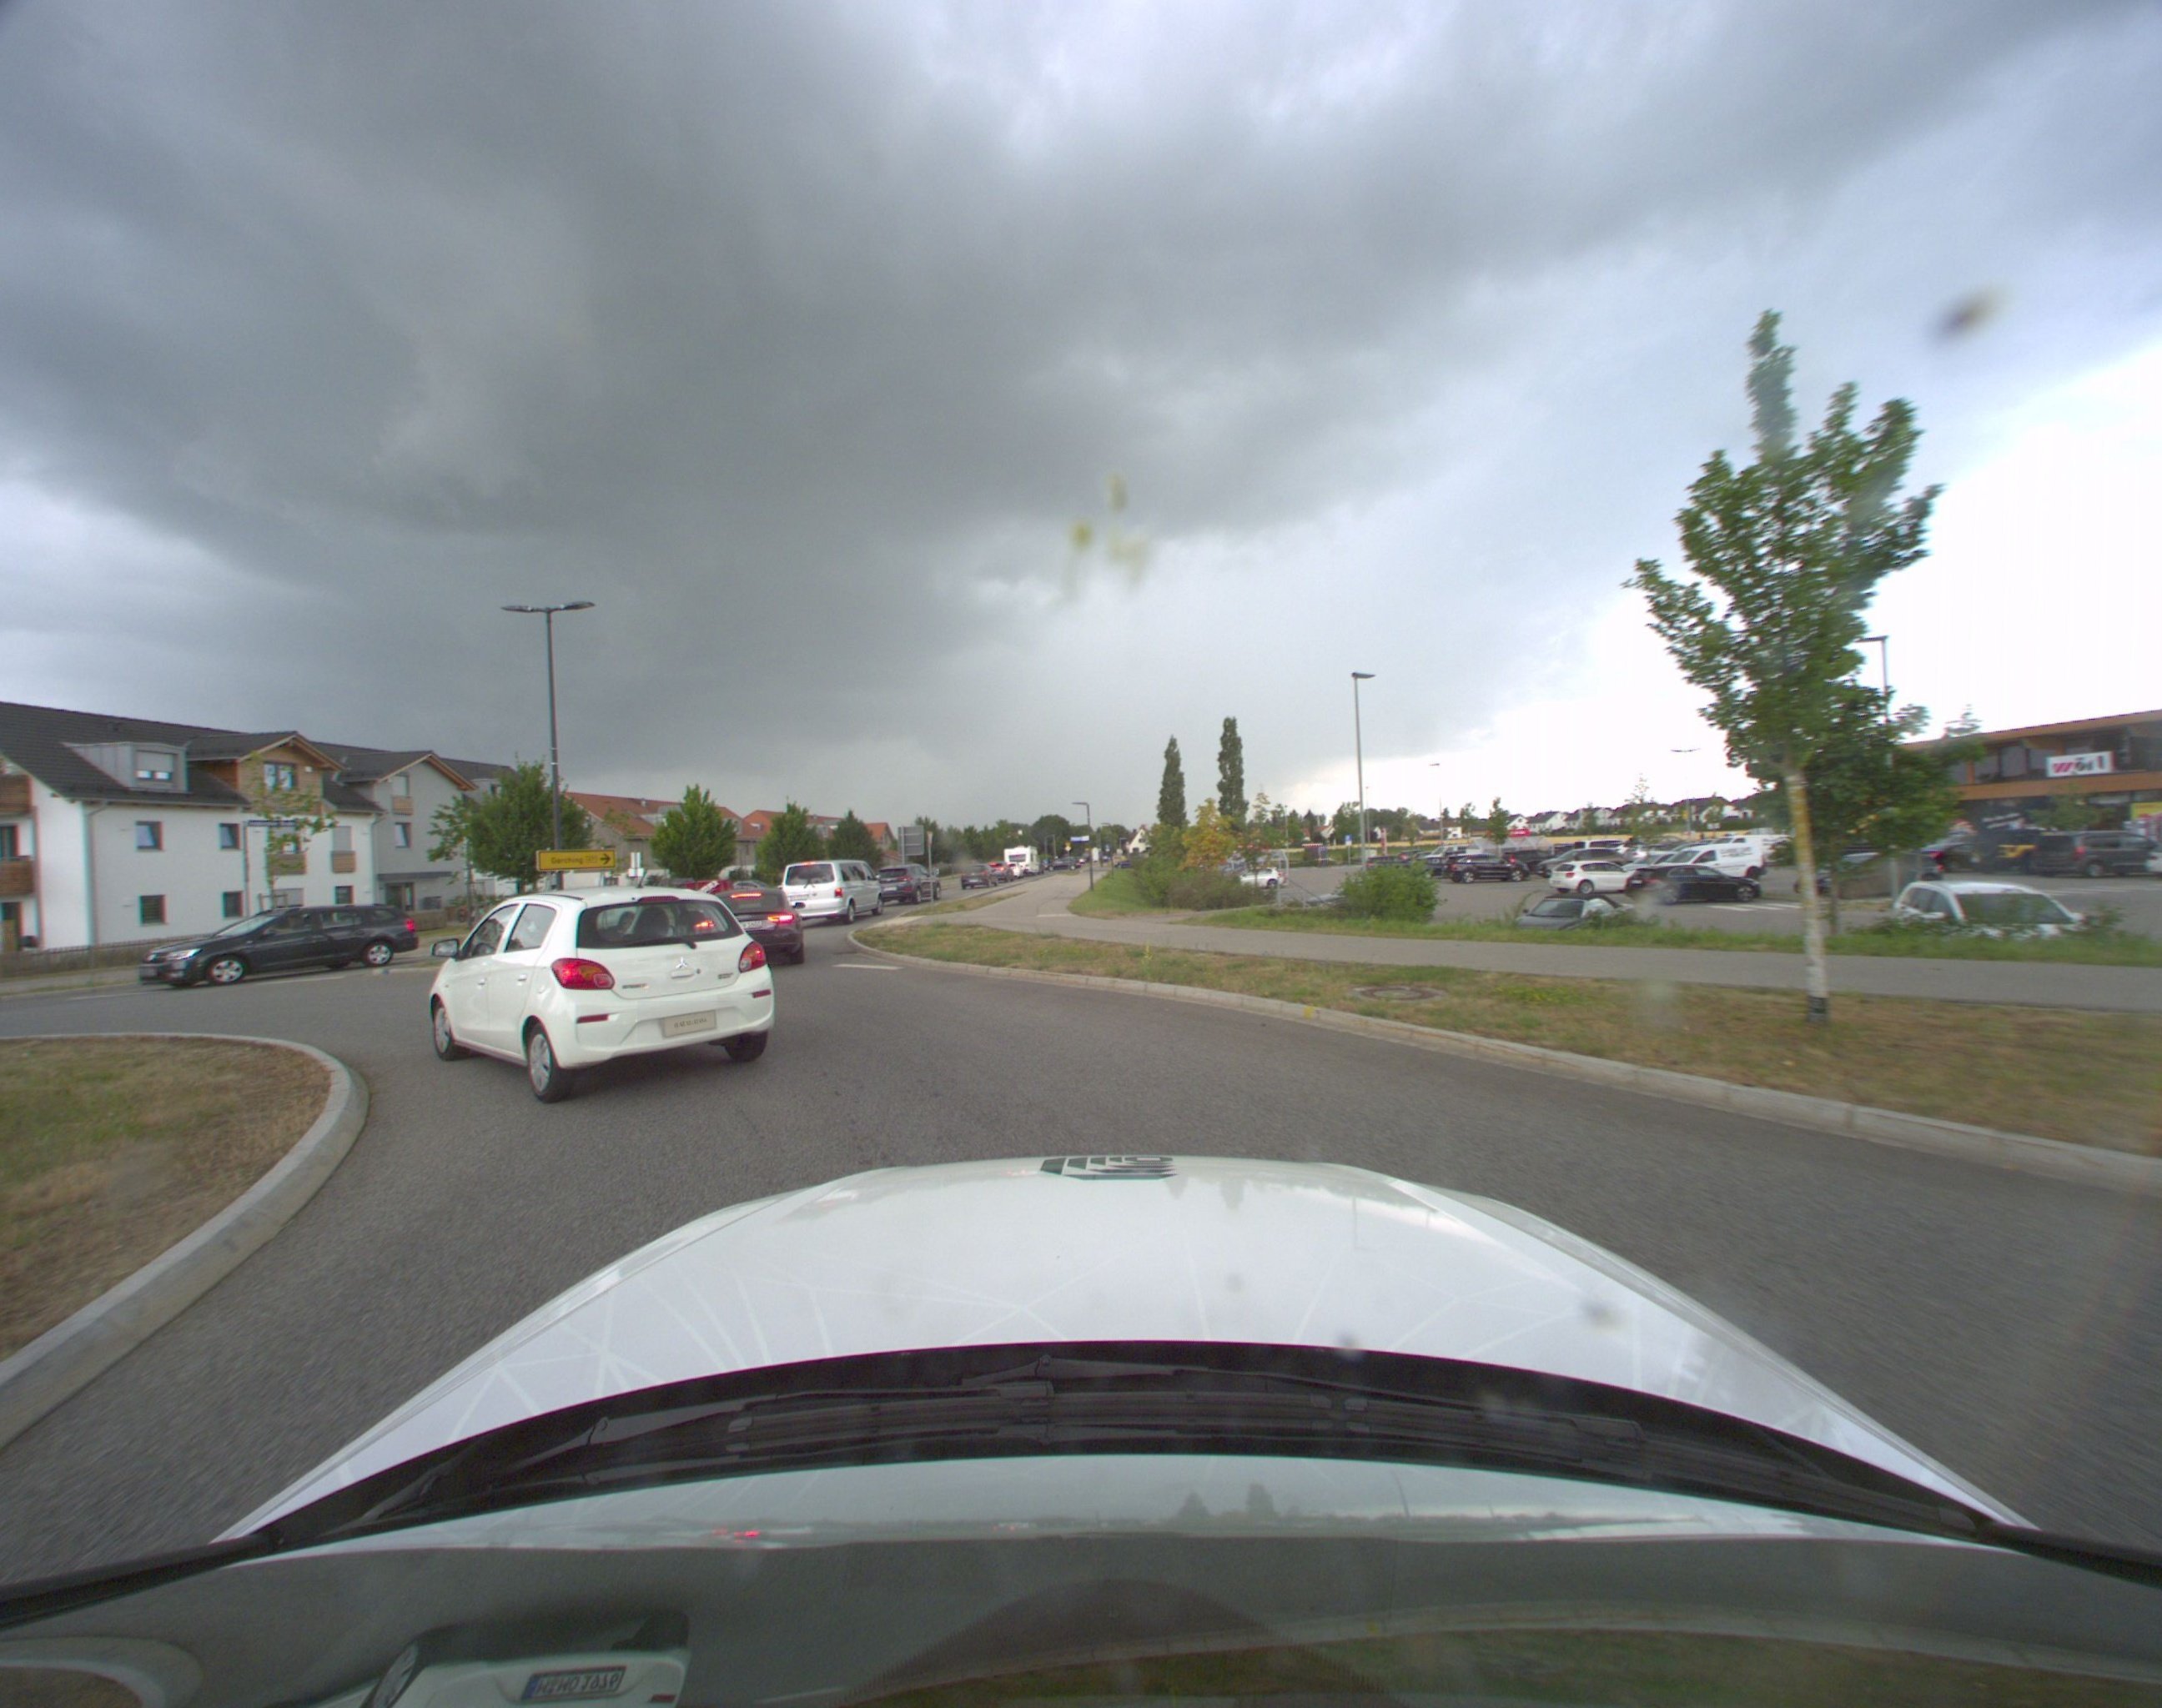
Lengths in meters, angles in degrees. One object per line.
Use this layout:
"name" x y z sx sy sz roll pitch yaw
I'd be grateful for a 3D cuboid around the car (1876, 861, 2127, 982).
"car" 17.466 1.183 15.768 1.777 1.672 4.474 -4 2 29

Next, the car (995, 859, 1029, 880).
"car" -5.543 1.223 65.844 1.984 1.596 4.005 -2 0 5

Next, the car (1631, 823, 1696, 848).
"car" 48.979 -1.534 68.492 3.966 1.840 1.878 -3 0 7

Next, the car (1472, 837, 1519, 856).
"car" 43.892 -0.826 86.259 3.966 1.838 2.004 -2 0 7

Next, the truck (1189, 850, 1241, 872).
"truck" 13.180 0.696 80.188 4.783 1.872 1.999 -2 -1 -1

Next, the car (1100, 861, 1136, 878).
"car" 4.445 1.902 97.428 3.952 1.794 1.627 -3 -1 23

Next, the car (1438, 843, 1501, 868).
"car" 29.868 0.110 62.652 3.971 1.706 1.717 -2 -1 2

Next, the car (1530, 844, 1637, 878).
"car" 29.280 0.399 47.571 4.954 1.664 2.001 -3 0 2

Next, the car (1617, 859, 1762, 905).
"car" 22.223 1.001 29.844 3.976 1.398 1.835 -3 0 -2

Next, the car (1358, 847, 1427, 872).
"car" 23.874 0.381 62.556 4.537 1.664 2.002 -3 0 3

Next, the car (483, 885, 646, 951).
"car" -15.573 1.864 24.892 1.699 1.626 4.460 -2 0 7

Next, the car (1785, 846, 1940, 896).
"car" 28.013 0.579 29.280 3.977 1.553 1.730 -3 0 -3

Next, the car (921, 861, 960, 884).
"car" -9.656 1.245 56.176 1.770 1.434 3.804 -4 -1 2

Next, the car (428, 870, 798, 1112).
"car" -4.114 0.973 6.986 3.355 1.519 1.643 -3 -1 39

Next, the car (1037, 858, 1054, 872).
"car" -5.308 1.592 120.955 1.984 2.013 4.005 -2 0 4

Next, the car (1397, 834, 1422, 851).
"car" 39.461 -1.340 97.806 1.981 2.013 4.011 0 0 10

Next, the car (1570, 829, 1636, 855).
"car" 41.812 -0.927 65.296 3.966 1.838 2.004 -3 0 6

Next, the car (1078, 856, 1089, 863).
"car" 0.498 1.053 161.070 1.837 1.436 4.003 -2 0 3

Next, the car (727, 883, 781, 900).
"car" -28.484 3.263 70.938 3.901 1.315 1.843 -2 0 1

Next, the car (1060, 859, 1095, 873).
"car" -0.395 1.427 96.458 3.971 1.618 2.001 0 0 2

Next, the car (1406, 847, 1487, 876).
"car" 24.061 0.474 53.699 4.385 1.664 2.002 -3 0 3

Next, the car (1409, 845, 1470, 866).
"car" 30.165 0.134 68.612 4.292 1.578 1.770 -3 0 5

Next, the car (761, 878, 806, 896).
"car" -29.355 3.235 80.404 3.717 1.482 1.686 -3 0 0

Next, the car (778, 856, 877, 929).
"car" -7.792 1.120 25.425 1.863 1.934 3.996 -5 0 -3

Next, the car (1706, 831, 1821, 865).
"car" 42.130 -0.377 50.381 5.264 1.831 2.002 -2 -1 3

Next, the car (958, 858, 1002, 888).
"car" -5.944 1.097 48.402 1.769 1.618 4.003 -4 -1 3

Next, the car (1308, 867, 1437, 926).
"car" 10.370 1.495 29.174 3.982 1.606 1.789 -3 8 -6

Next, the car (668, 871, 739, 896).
"car" -28.894 2.218 62.372 4.507 1.680 2.004 -2 0 6

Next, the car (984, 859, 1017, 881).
"car" -5.616 1.106 57.233 1.770 1.434 3.804 -4 -1 2

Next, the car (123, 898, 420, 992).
"car" -17.772 1.946 18.187 1.752 1.564 4.303 -4 -1 23

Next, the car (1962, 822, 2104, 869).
"car" 41.551 -0.346 35.608 3.971 1.854 1.774 -2 -1 2

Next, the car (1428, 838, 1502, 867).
"car" 30.823 -0.130 65.448 5.104 2.013 1.995 -3 1 -8

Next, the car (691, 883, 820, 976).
"car" -5.951 1.288 15.333 1.788 1.391 4.110 -1 -1 -16

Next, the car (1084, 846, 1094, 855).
"car" 2.021 -0.985 211.138 1.982 2.211 4.009 -3 0 8

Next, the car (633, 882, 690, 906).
"car" -36.050 3.392 70.119 1.982 1.772 4.476 -3 -1 8

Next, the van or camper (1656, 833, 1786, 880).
"van or camper" 30.243 0.140 38.584 4.776 2.098 1.764 -1 -1 -1

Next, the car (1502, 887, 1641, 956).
"car" 12.403 1.630 20.549 3.747 1.372 1.564 -2 0 -35

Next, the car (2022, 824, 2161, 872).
"car" 40.652 -0.221 32.410 4.091 1.725 1.853 -2 -2 2

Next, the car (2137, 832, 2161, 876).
"car" 41.023 -0.093 29.296 3.977 1.530 1.730 -3 0 -3

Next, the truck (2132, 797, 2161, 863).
"truck" 47.584 -1.110 32.051 2.959 2.807 7.254 -3 0 -1

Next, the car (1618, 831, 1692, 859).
"car" 41.942 -0.607 59.582 3.967 1.838 2.003 -3 -1 5

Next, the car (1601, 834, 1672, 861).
"car" 42.325 -0.489 62.143 3.966 1.838 2.004 -2 0 7

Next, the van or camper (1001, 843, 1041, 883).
"van or camper" -5.416 0.846 74.302 2.614 3.323 6.826 -3 -1 3

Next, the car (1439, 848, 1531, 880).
"car" 23.539 0.578 47.583 4.432 1.706 1.805 -2 0 2

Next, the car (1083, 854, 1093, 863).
"car" 1.624 1.027 182.748 1.986 1.838 4.001 -2 0 2

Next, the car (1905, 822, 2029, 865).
"car" 41.865 -0.477 38.551 3.976 1.854 1.771 -2 0 -2

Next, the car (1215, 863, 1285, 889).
"car" 11.070 1.454 53.506 4.215 1.440 2.002 -3 0 3

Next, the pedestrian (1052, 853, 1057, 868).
"pedestrian" -3.662 0.871 113.486 0.575 2.013 0.683 0 0 9

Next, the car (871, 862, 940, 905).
"car" -7.357 1.192 34.527 1.769 1.618 4.004 -2 0 4

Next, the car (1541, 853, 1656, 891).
"car" 22.760 0.789 35.900 3.972 1.485 1.682 -2 0 -2
